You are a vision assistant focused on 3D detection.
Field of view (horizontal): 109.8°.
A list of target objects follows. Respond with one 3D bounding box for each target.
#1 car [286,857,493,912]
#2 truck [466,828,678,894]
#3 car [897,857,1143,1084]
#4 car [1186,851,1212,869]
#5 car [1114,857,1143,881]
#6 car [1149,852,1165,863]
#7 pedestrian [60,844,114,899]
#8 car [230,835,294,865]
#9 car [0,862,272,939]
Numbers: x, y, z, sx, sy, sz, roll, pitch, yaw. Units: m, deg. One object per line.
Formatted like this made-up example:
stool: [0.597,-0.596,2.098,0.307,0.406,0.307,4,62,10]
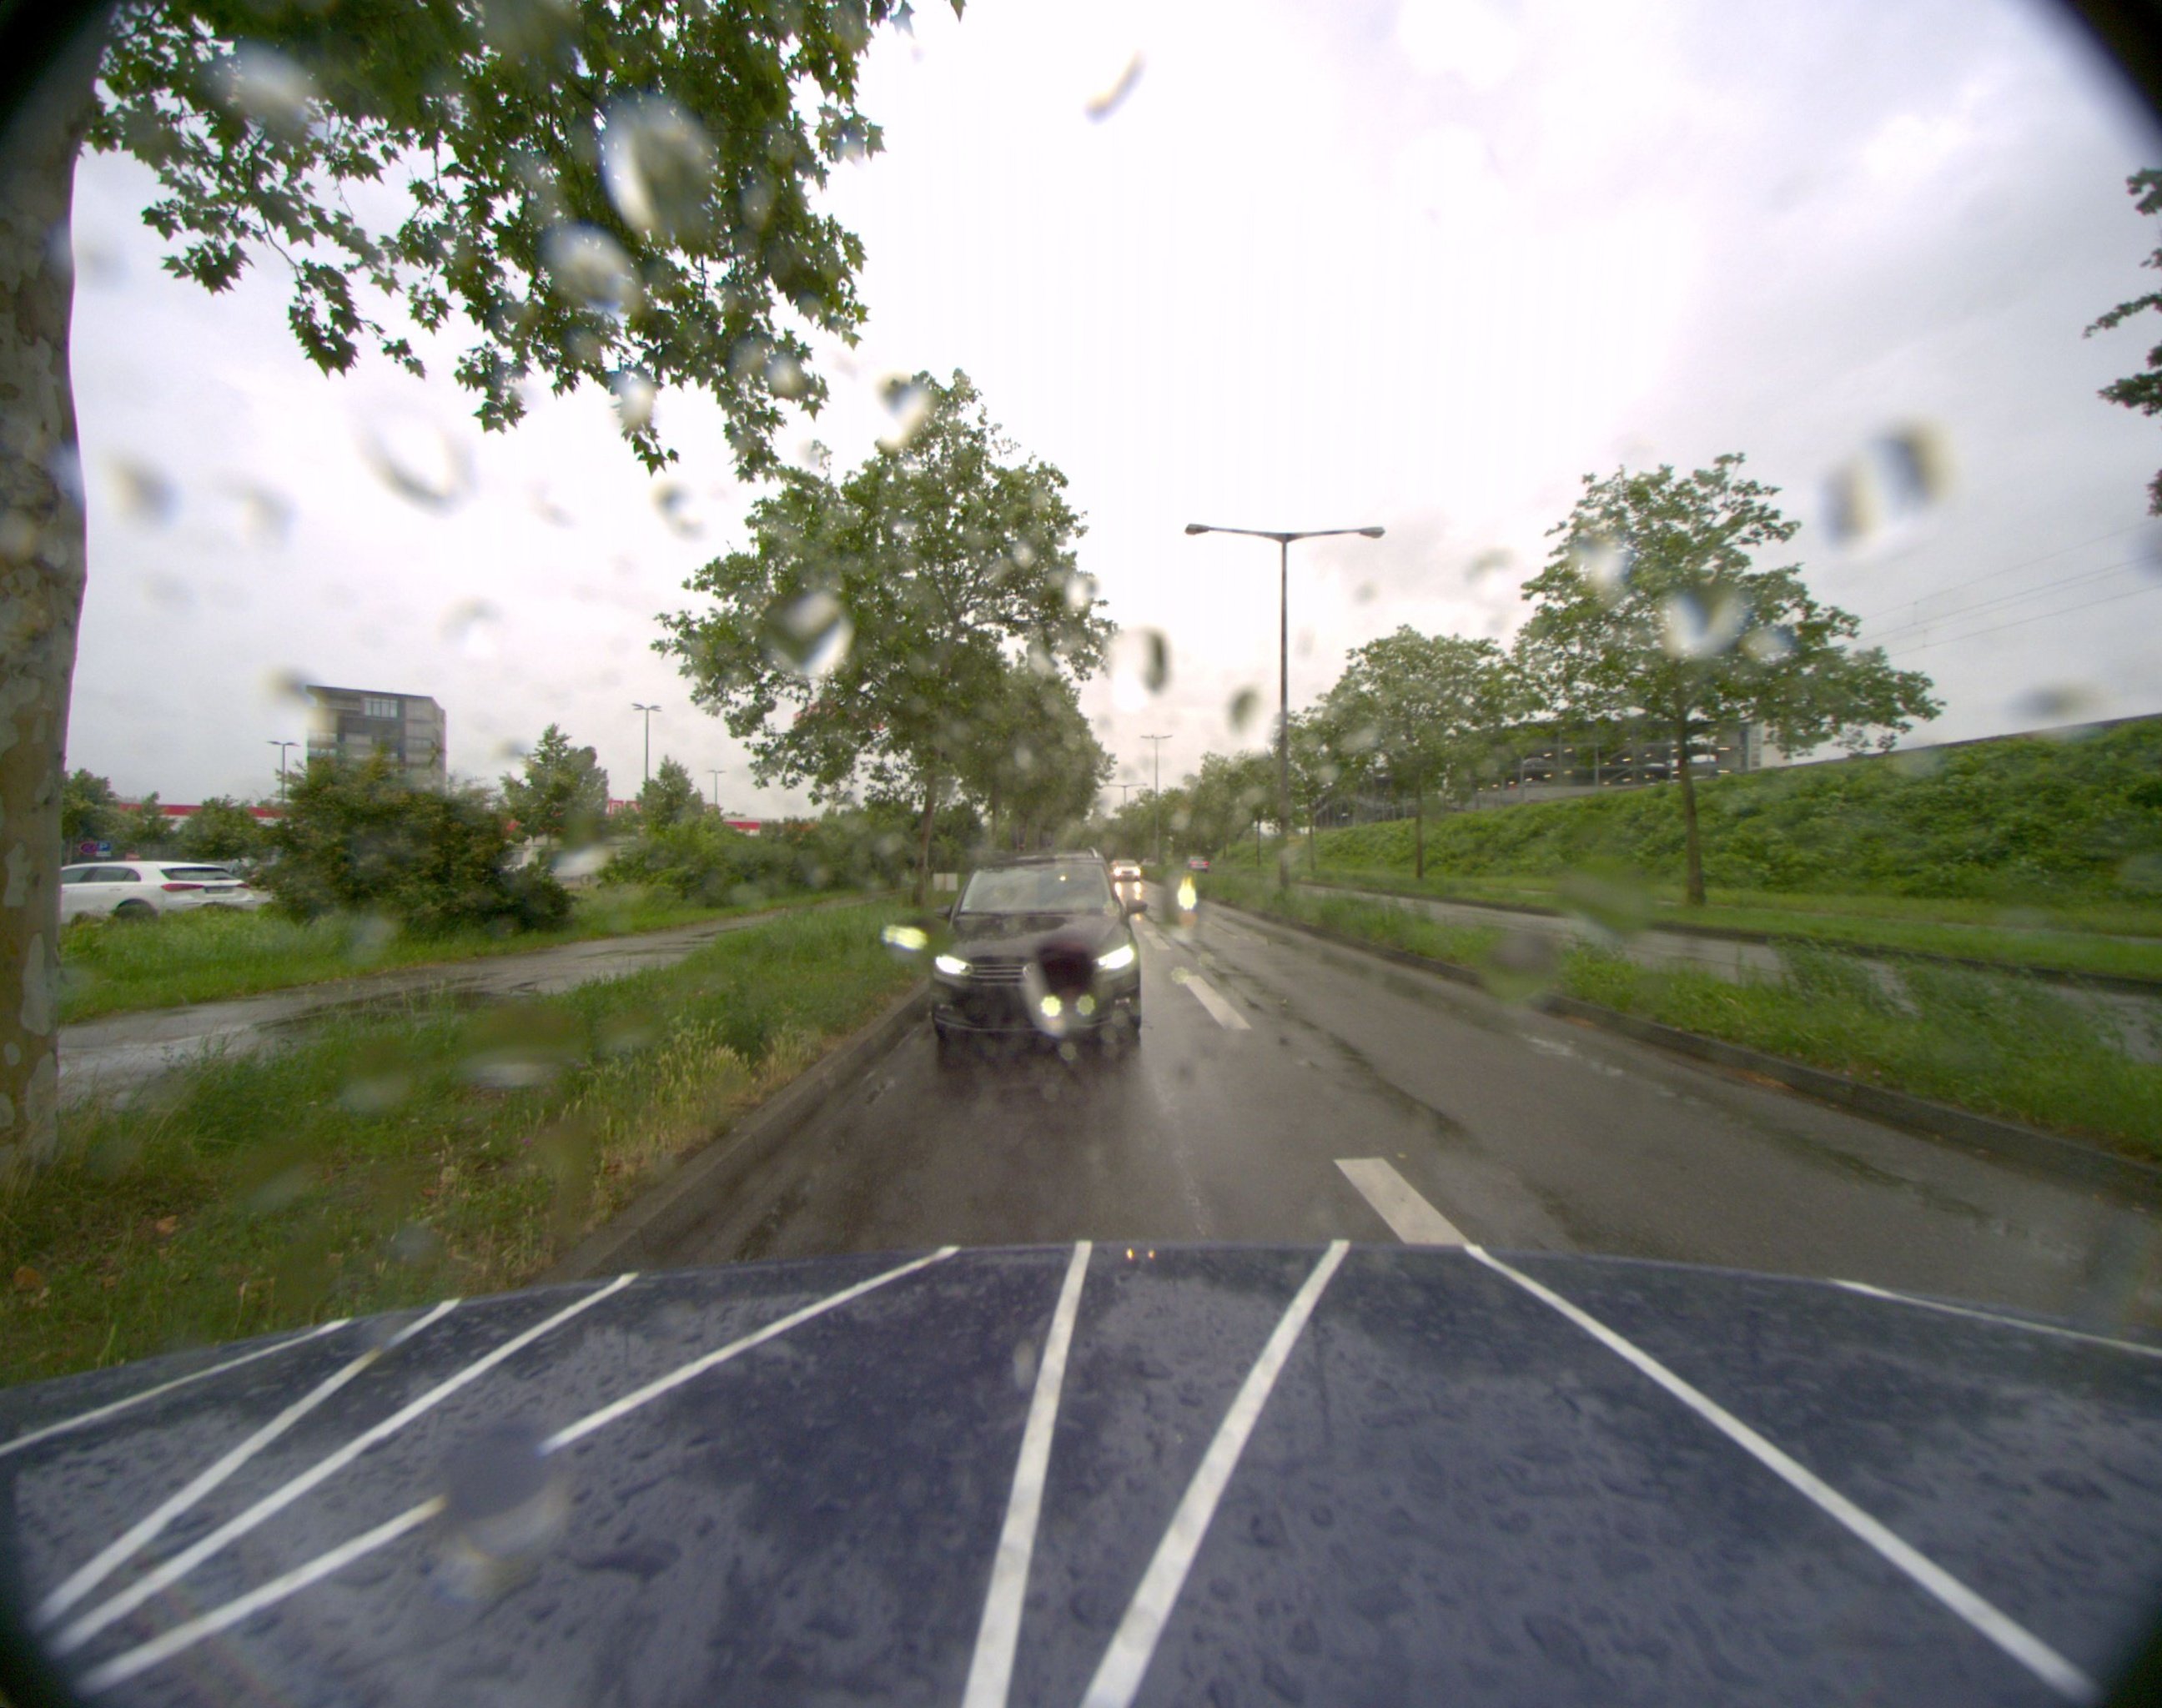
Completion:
car: [-19.896,0.832,22.032,3.998,1.357,1.999,-2,1,-3]
truck: [-19.855,0.252,29.950,6.552,2.291,2.219,-2,1,-6]
car: [-0.394,0.885,8.059,1.788,1.605,4.717,-2,0,2]
car: [11.431,0.557,74.115,1.861,1.580,4.518,1,0,1]
car: [3.176,0.963,51.491,1.729,1.470,4.000,-2,0,1]
car: [10.891,0.540,109.488,1.861,1.580,4.518,0,0,1]
pedestrian: [-32.816,0.568,25.099,0.704,1.777,0.799,0,0,-4]
car: [-48.359,-0.239,44.937,2.004,1.707,3.989,0,1,-39]
car: [-19.737,0.918,15.629,3.998,1.357,1.867,-2,1,-3]
